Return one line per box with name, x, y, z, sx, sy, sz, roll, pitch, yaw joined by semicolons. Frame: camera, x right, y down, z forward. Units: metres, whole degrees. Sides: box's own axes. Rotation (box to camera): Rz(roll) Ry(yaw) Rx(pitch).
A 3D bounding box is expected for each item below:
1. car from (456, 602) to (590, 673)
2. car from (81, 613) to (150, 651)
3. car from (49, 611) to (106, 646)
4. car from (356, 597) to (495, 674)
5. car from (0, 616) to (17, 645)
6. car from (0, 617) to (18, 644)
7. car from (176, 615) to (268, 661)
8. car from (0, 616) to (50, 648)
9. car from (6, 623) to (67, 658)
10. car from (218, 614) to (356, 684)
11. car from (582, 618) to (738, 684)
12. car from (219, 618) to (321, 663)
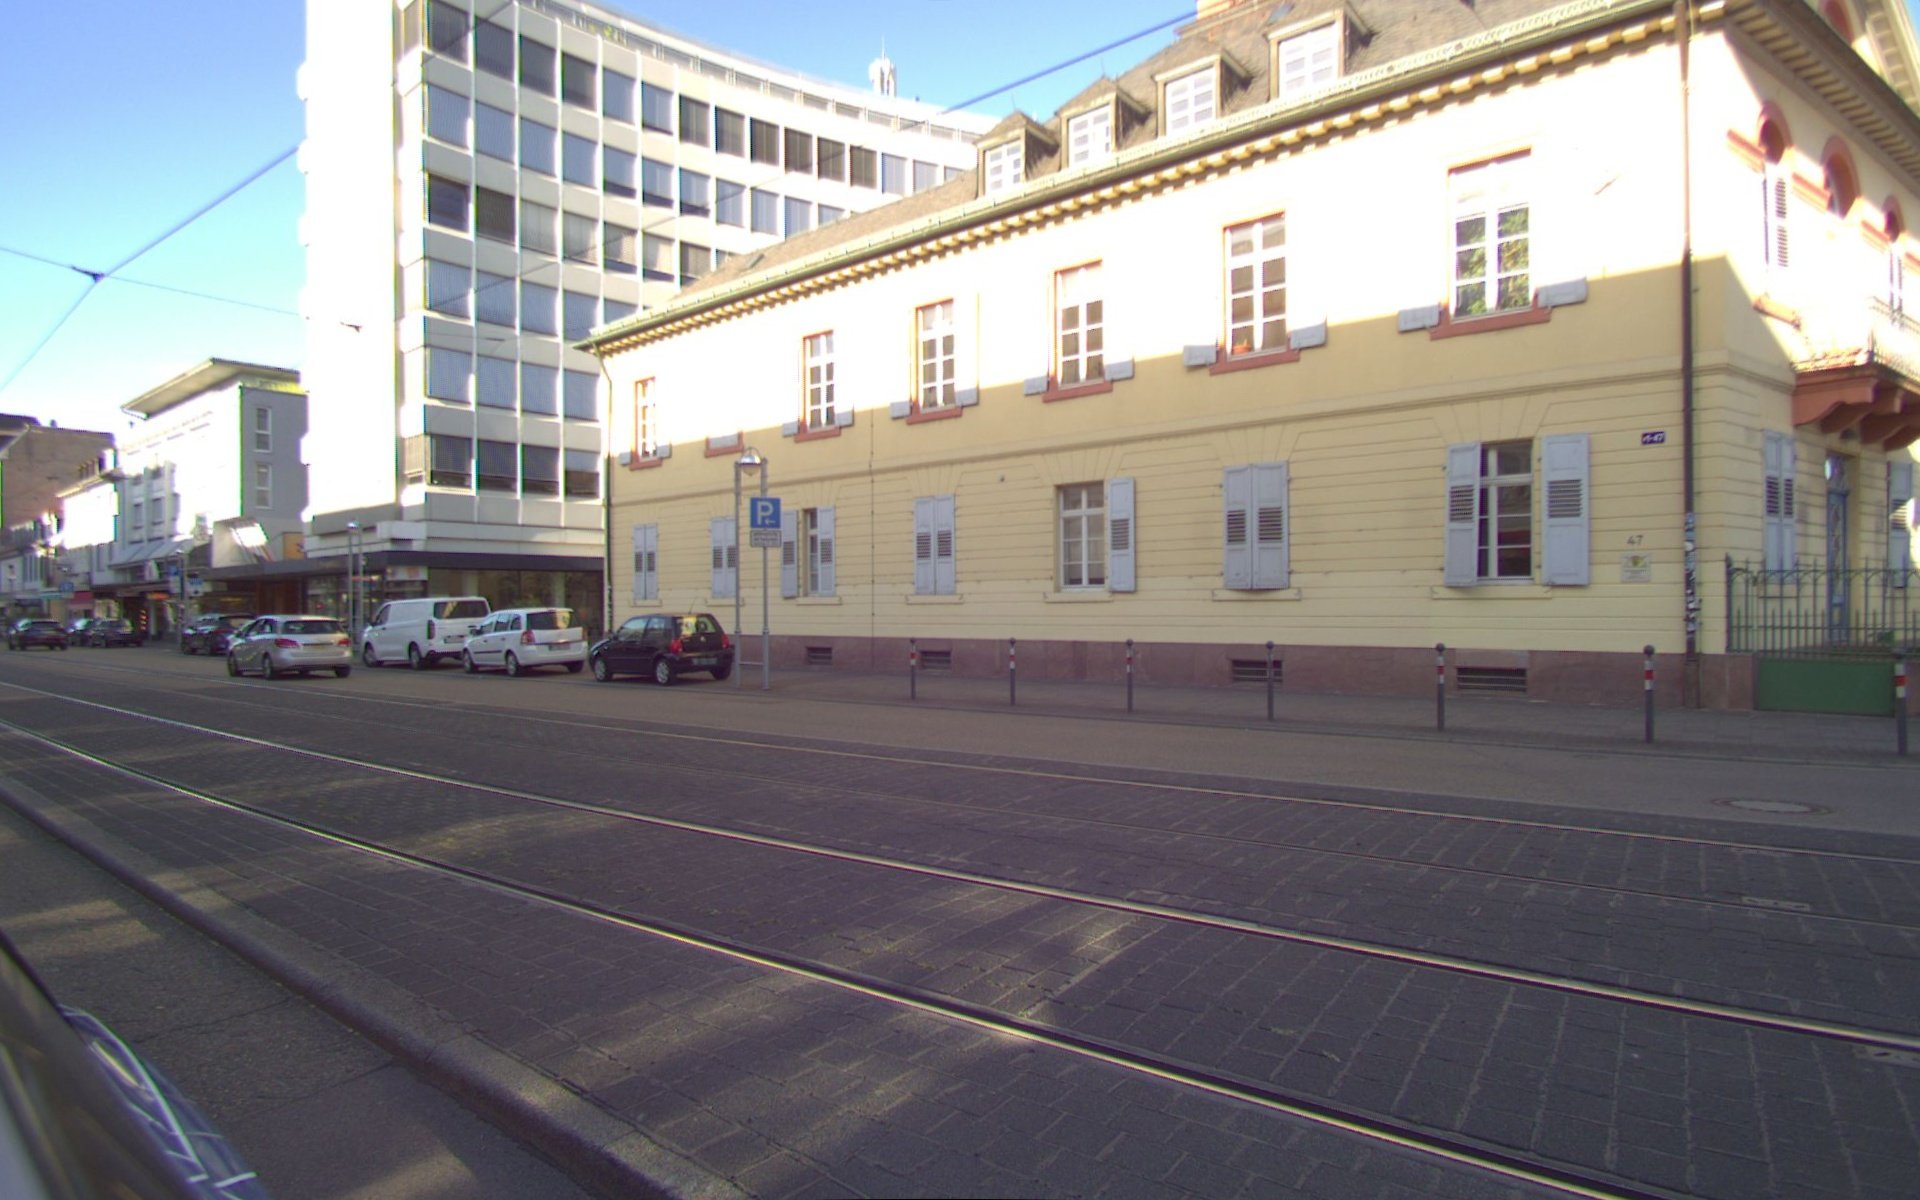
car;-11.019;0.892;25.386;4.005;1.621;1.619;-1;0;43
car;-43.871;1.630;52.573;3.995;1.874;1.974;-1;0;38
car;-50.392;1.629;57.778;3.995;1.896;1.768;-1;-1;38
car;-15.350;0.996;28.950;4.619;2.029;2.014;-1;-1;41
car;-71.047;2.244;74.537;3.998;2.029;1.973;-1;-1;41
car;-74.877;2.332;78.563;3.995;2.029;1.974;-1;0;38
car;-29.906;1.493;40.966;4.103;1.717;1.975;-1;0;38
car;-63.105;2.126;68.126;3.996;2.058;2.172;-1;-1;39
car;-44.279;1.902;48.496;4.001;1.519;1.937;-1;0;44
car;-16.918;1.185;25.395;3.994;1.609;1.739;-1;-1;38
car;-6.403;1.029;21.491;3.210;1.263;1.667;-1;0;39
car;-25.656;1.448;37.584;4.369;1.541;1.974;-1;0;39
